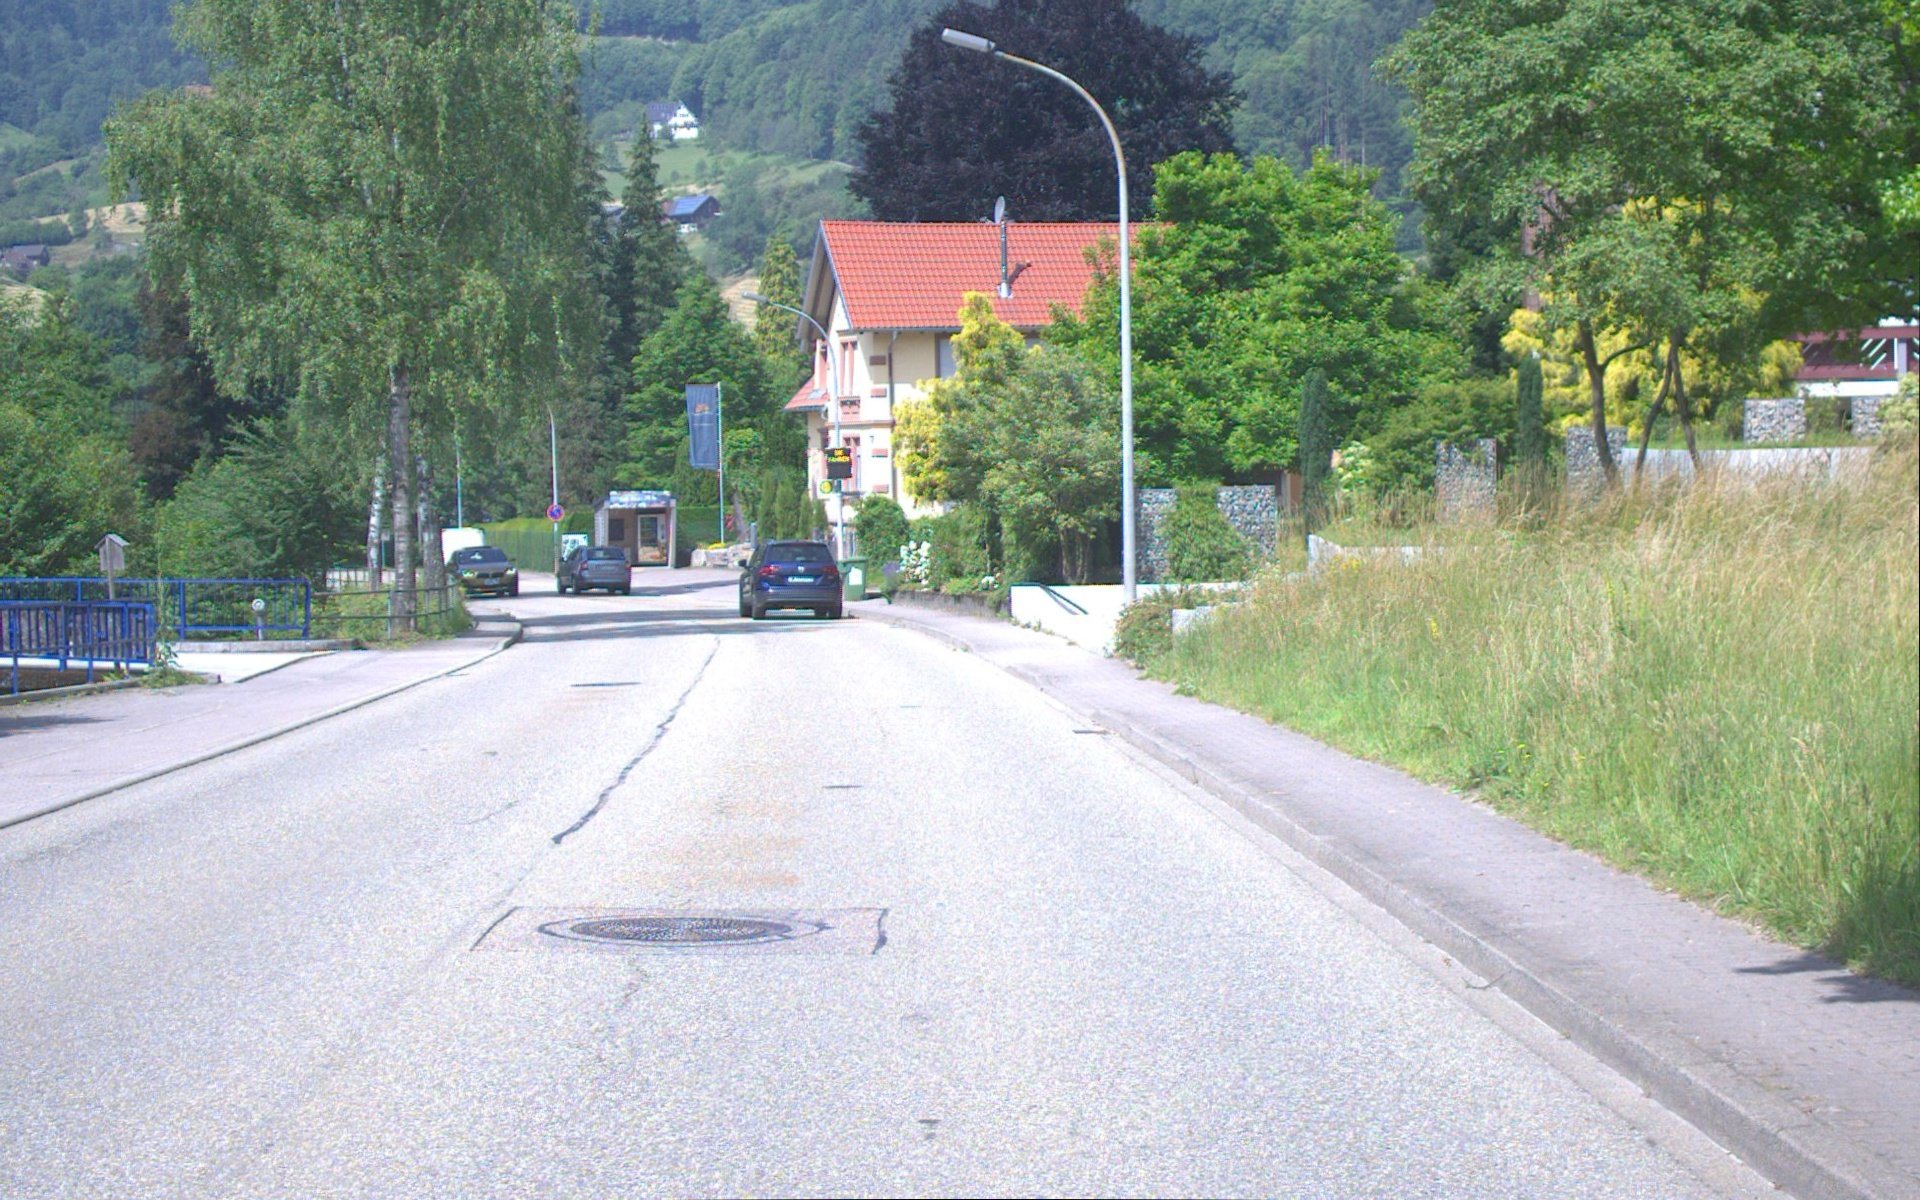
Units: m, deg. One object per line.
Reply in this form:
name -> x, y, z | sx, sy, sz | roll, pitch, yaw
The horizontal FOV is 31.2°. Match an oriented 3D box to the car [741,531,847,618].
car -> -3.440, -0.551, 70.796 | 1.919, 1.692, 3.789 | -2, 1, -6

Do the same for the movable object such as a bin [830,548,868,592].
movable object such as a bin -> -2.693, -0.728, 83.460 | 0.809, 1.039, 0.579 | -2, 2, -11

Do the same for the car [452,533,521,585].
car -> -14.349, -1.246, 104.075 | 1.813, 1.495, 4.150 | -2, 1, -11

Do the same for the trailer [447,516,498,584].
trailer -> -15.353, -1.573, 108.131 | 1.466, 2.070, 3.671 | -2, 1, -9

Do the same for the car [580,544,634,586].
car -> -10.658, -1.066, 103.948 | 1.477, 1.205, 2.384 | -2, 1, -3
